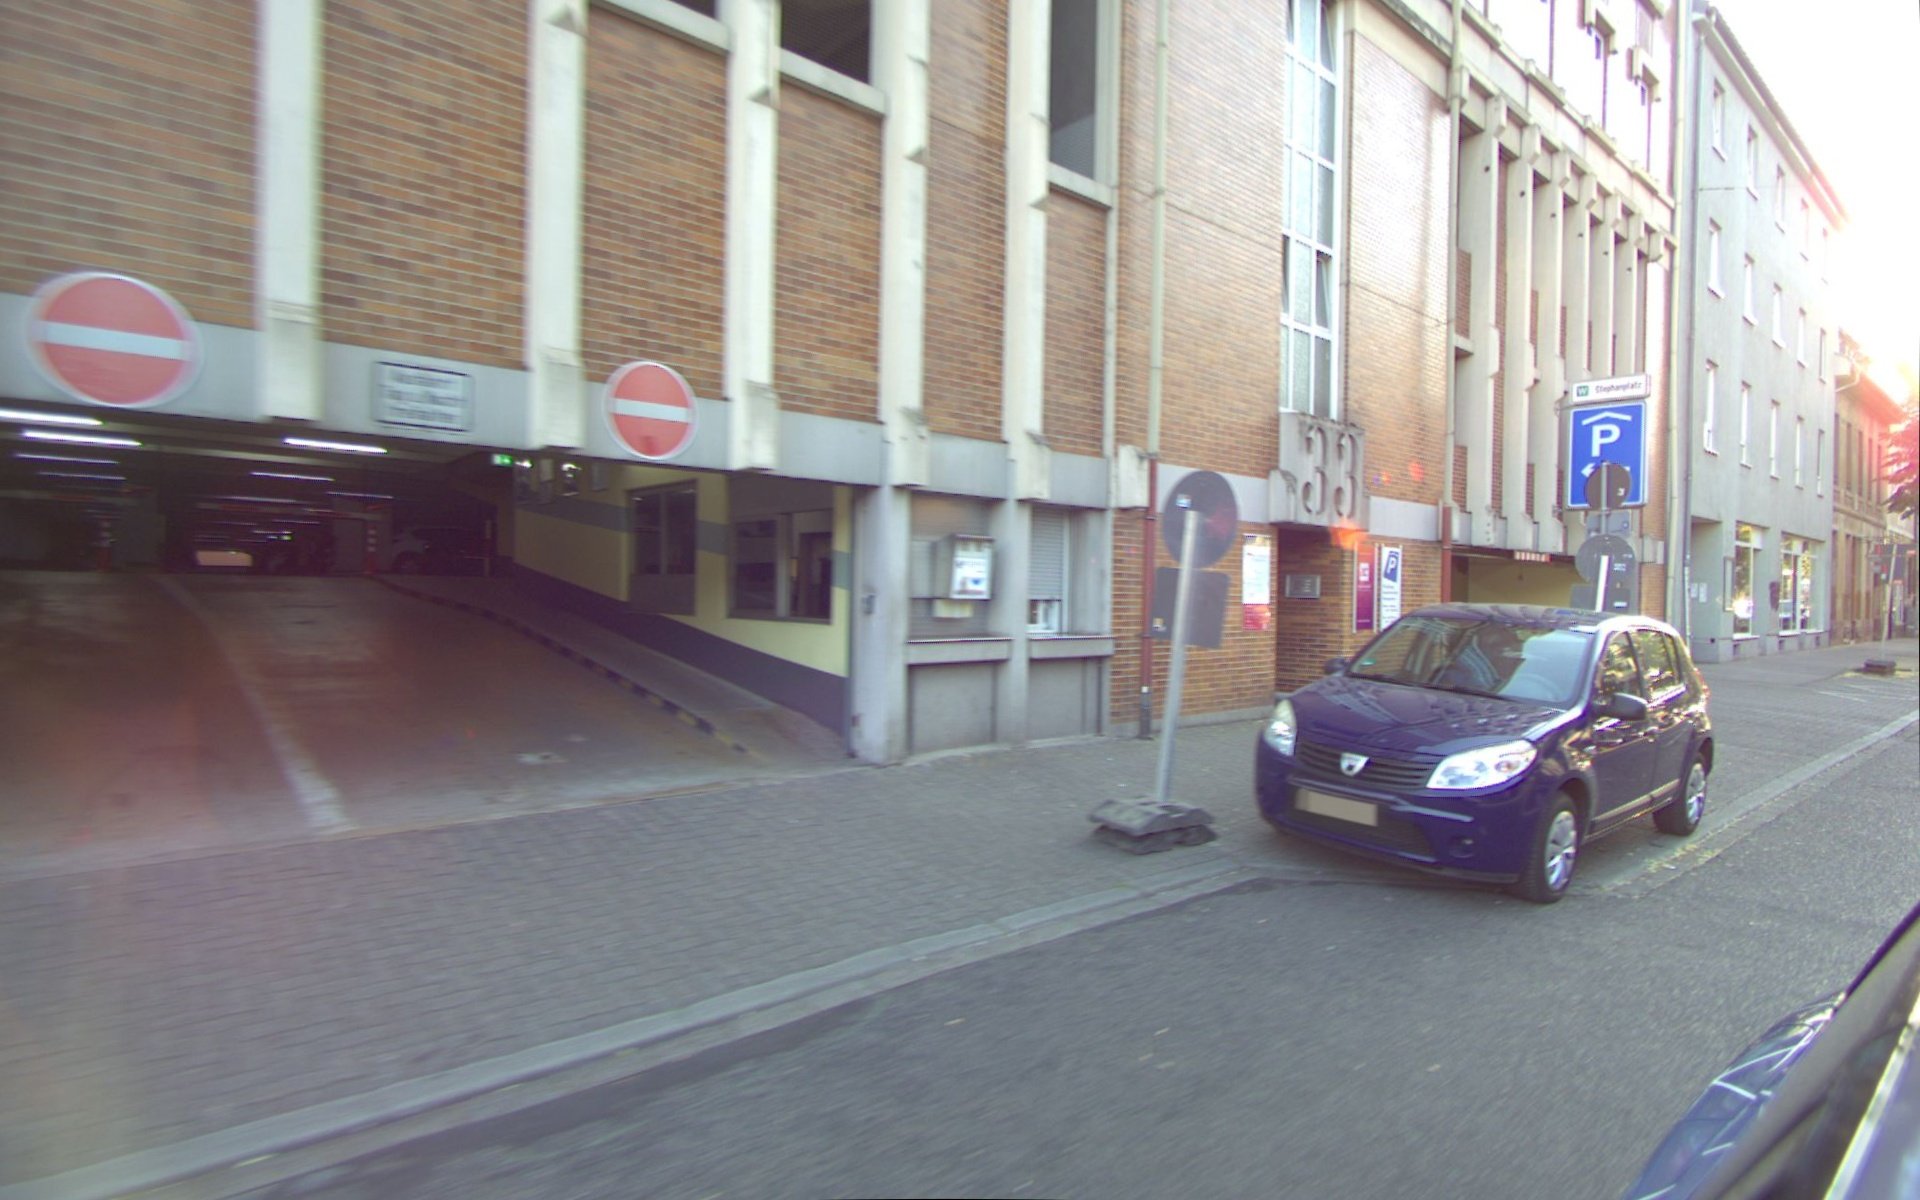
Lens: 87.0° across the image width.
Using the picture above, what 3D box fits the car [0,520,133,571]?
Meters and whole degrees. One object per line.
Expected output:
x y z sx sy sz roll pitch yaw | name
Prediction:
-30.432 -1.841 34.231 3.941 1.621 1.819 1 0 14 | car

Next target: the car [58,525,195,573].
-29.740 -1.809 36.143 3.941 1.621 1.819 1 0 14 | car

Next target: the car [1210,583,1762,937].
3.599 0.740 6.634 3.928 1.555 1.764 0 4 -40 | car

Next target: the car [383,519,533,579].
-14.997 -1.491 30.424 3.917 1.621 1.830 1 1 -24 | car

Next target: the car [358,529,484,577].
-19.649 -1.672 37.074 3.917 1.621 1.830 1 1 -24 | car

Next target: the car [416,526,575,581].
-12.959 -1.260 28.377 3.917 1.415 1.830 1 1 -24 | car
